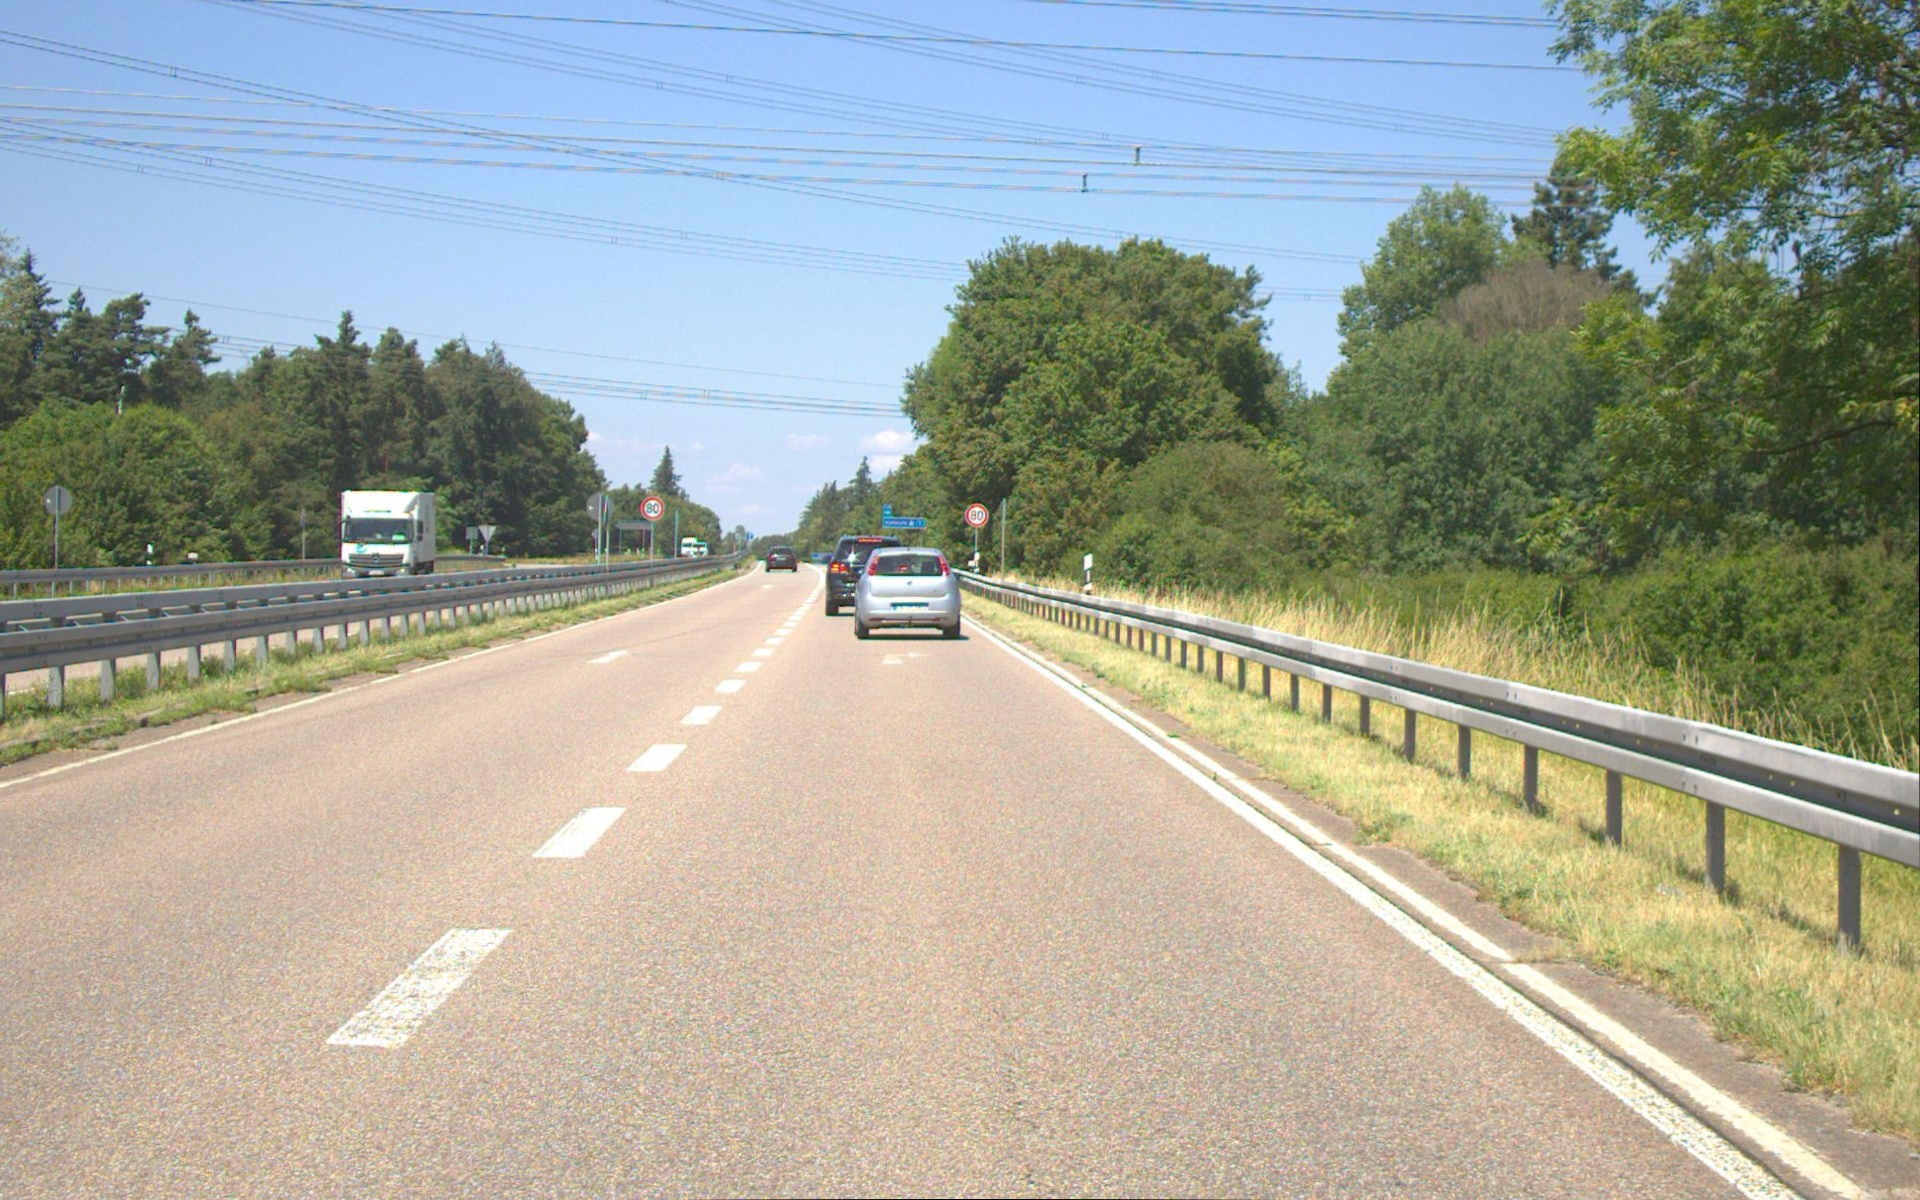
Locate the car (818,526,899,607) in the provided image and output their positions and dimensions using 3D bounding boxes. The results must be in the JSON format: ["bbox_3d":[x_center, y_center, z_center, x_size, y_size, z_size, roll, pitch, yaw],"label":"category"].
[{"bbox_3d":[-2.239,-0.747,75.385,1.640,1.648,3.574,3,1,-3],"label":"car"}]

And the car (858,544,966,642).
[{"bbox_3d":[-0.804,-0.123,55.970,1.640,1.463,3.419,3,1,-2],"label":"car"}]

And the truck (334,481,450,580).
[{"bbox_3d":[-18.979,-2.308,115.279,2.718,3.182,8.406,0,1,-2],"label":"truck"}]

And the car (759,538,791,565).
[{"bbox_3d":[-10.630,-2.787,197.513,1.712,1.466,3.574,3,1,-3],"label":"car"}]
